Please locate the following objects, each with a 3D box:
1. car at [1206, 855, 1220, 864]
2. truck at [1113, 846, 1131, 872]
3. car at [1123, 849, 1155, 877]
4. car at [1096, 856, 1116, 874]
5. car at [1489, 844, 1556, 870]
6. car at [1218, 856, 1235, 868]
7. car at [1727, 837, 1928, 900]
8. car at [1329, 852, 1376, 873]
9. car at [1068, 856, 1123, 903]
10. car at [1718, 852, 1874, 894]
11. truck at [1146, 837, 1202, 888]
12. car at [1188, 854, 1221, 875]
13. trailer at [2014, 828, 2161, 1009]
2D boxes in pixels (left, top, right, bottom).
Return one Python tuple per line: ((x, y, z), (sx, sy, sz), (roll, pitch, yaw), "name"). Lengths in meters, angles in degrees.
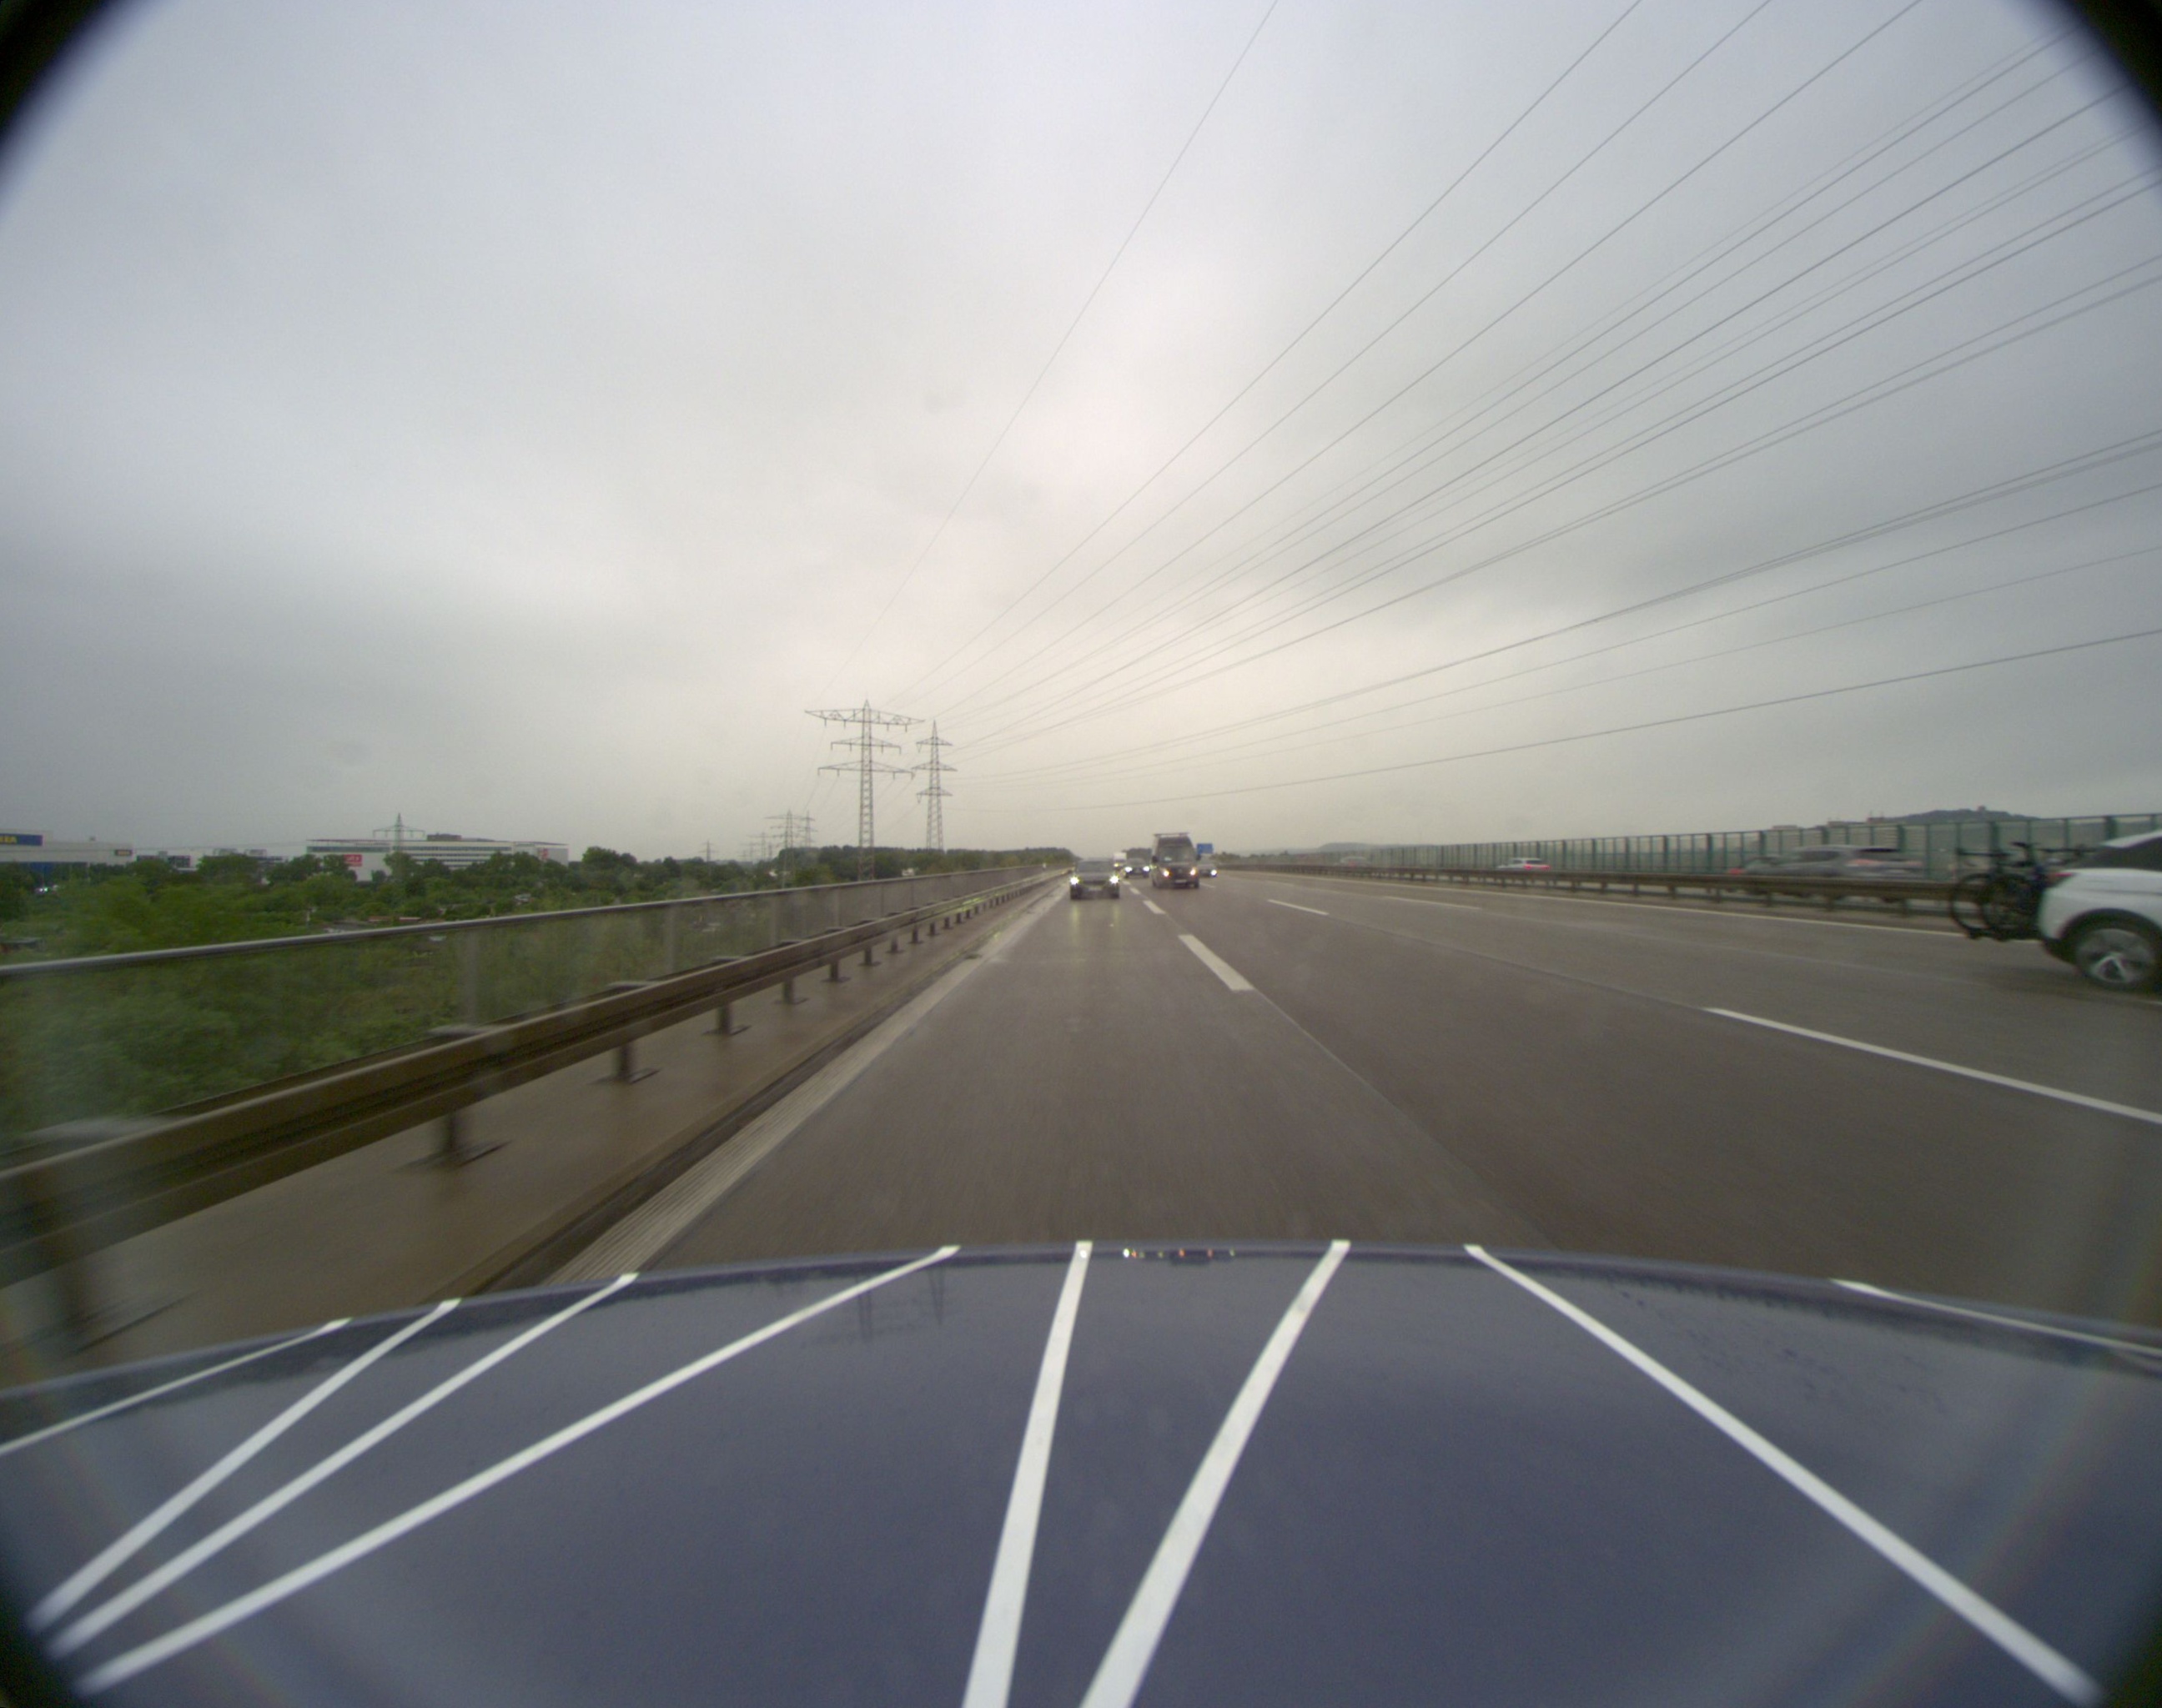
((26.819, 1.084, 154.331), (1.926, 1.734, 4.467), (-2, 1, 0), "car")
((7.079, 0.921, 132.077), (2.704, 4.171, 8.925), (-2, -1, 0), "truck")
((4.421, 0.647, 58.623), (1.998, 2.002, 4.785), (-2, 0, 0), "car")
((2.509, 1.132, 77.463), (1.998, 1.706, 4.000), (1, 1, 1), "car")
((31.346, 0.180, 54.100), (1.998, 1.655, 4.700), (-2, 1, 0), "car")
((22.516, 1.158, 117.782), (1.846, 1.734, 4.467), (2, 1, 0), "car")
((23.099, 0.391, 23.805), (1.846, 1.734, 4.467), (2, 1, 0), "car")
((20.083, 0.588, 56.395), (1.846, 1.422, 4.467), (2, 1, 0), "car")
((0.513, 0.901, 28.561), (1.862, 1.531, 4.203), (-2, 0, 0), "car")
((27.498, 0.686, 29.469), (1.846, 1.422, 4.467), (2, 1, 0), "car")
((4.594, 0.339, 38.425), (1.999, 2.324, 6.109), (-1, 1, -1), "truck")
((8.828, 0.777, 54.656), (1.729, 1.394, 4.830), (-2, -1, 3), "car")
((10.496, 0.561, 5.552), (1.819, 1.615, 4.568), (-1, 0, 2), "trailer")
